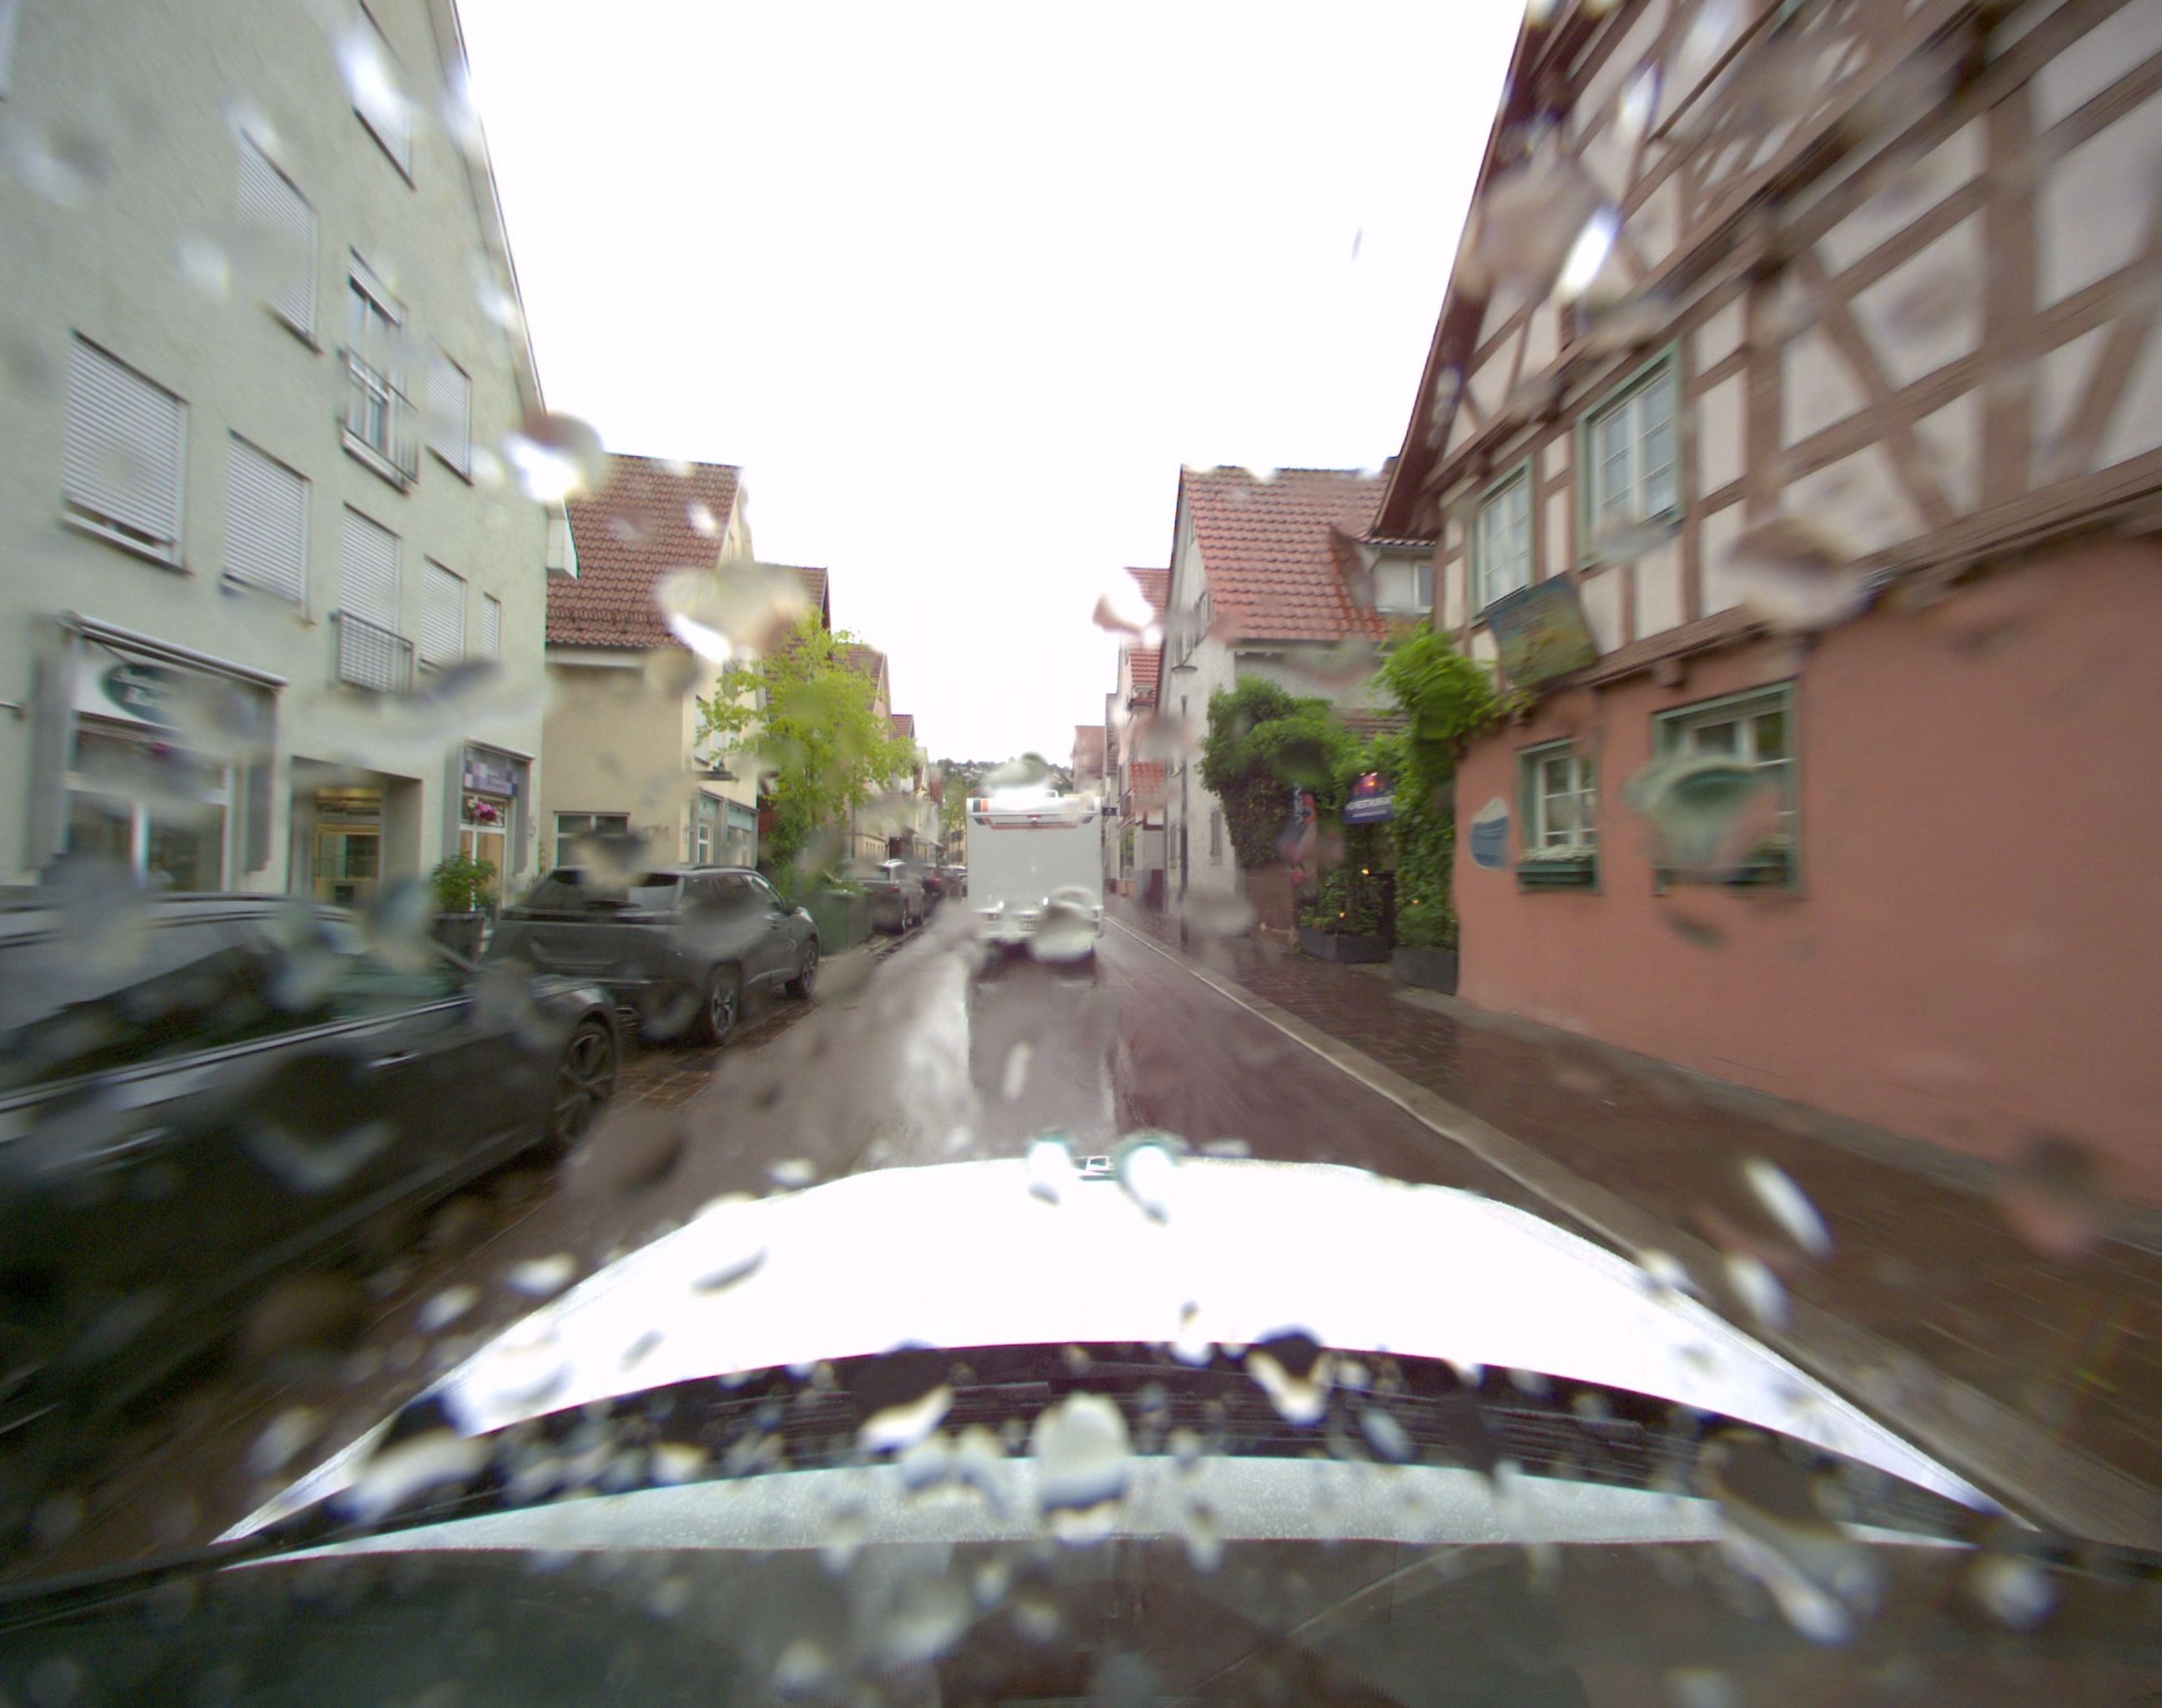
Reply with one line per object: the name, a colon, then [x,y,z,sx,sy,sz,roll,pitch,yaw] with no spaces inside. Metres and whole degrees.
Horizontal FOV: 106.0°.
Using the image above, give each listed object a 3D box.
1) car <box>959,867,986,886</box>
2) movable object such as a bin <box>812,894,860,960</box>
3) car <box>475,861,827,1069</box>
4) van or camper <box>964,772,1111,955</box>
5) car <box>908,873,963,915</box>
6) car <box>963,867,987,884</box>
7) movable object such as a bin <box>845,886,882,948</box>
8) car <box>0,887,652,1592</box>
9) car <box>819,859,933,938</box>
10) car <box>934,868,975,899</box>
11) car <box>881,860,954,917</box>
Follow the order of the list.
car: [-8.676,1.810,65.099,1.993,1.472,3.986,0,-1,-10]
movable object such as a bin: [-4.180,1.233,13.950,0.619,1.079,0.724,-1,-2,-3]
car: [-3.896,0.915,8.225,1.589,1.546,3.972,-1,-2,-3]
van or camper: [-1.073,0.256,16.313,2.324,2.919,6.376,-1,-2,-7]
car: [-5.801,1.600,32.892,1.830,1.552,4.273,-1,-2,-5]
car: [-12.778,2.611,98.019,2.002,2.014,3.969,0,-2,-23]
movable object such as a bin: [-4.314,1.240,16.189,0.600,1.201,0.523,-1,-2,-2]
car: [-3.286,0.848,2.755,1.800,1.433,4.613,-1,-2,-9]
car: [-4.809,1.045,19.748,1.767,1.675,4.474,1,-2,-3]
car: [-6.703,1.570,43.530,1.824,1.566,3.992,-1,-2,-5]
car: [-5.280,1.111,26.808,1.830,1.675,4.531,-1,-2,-5]
